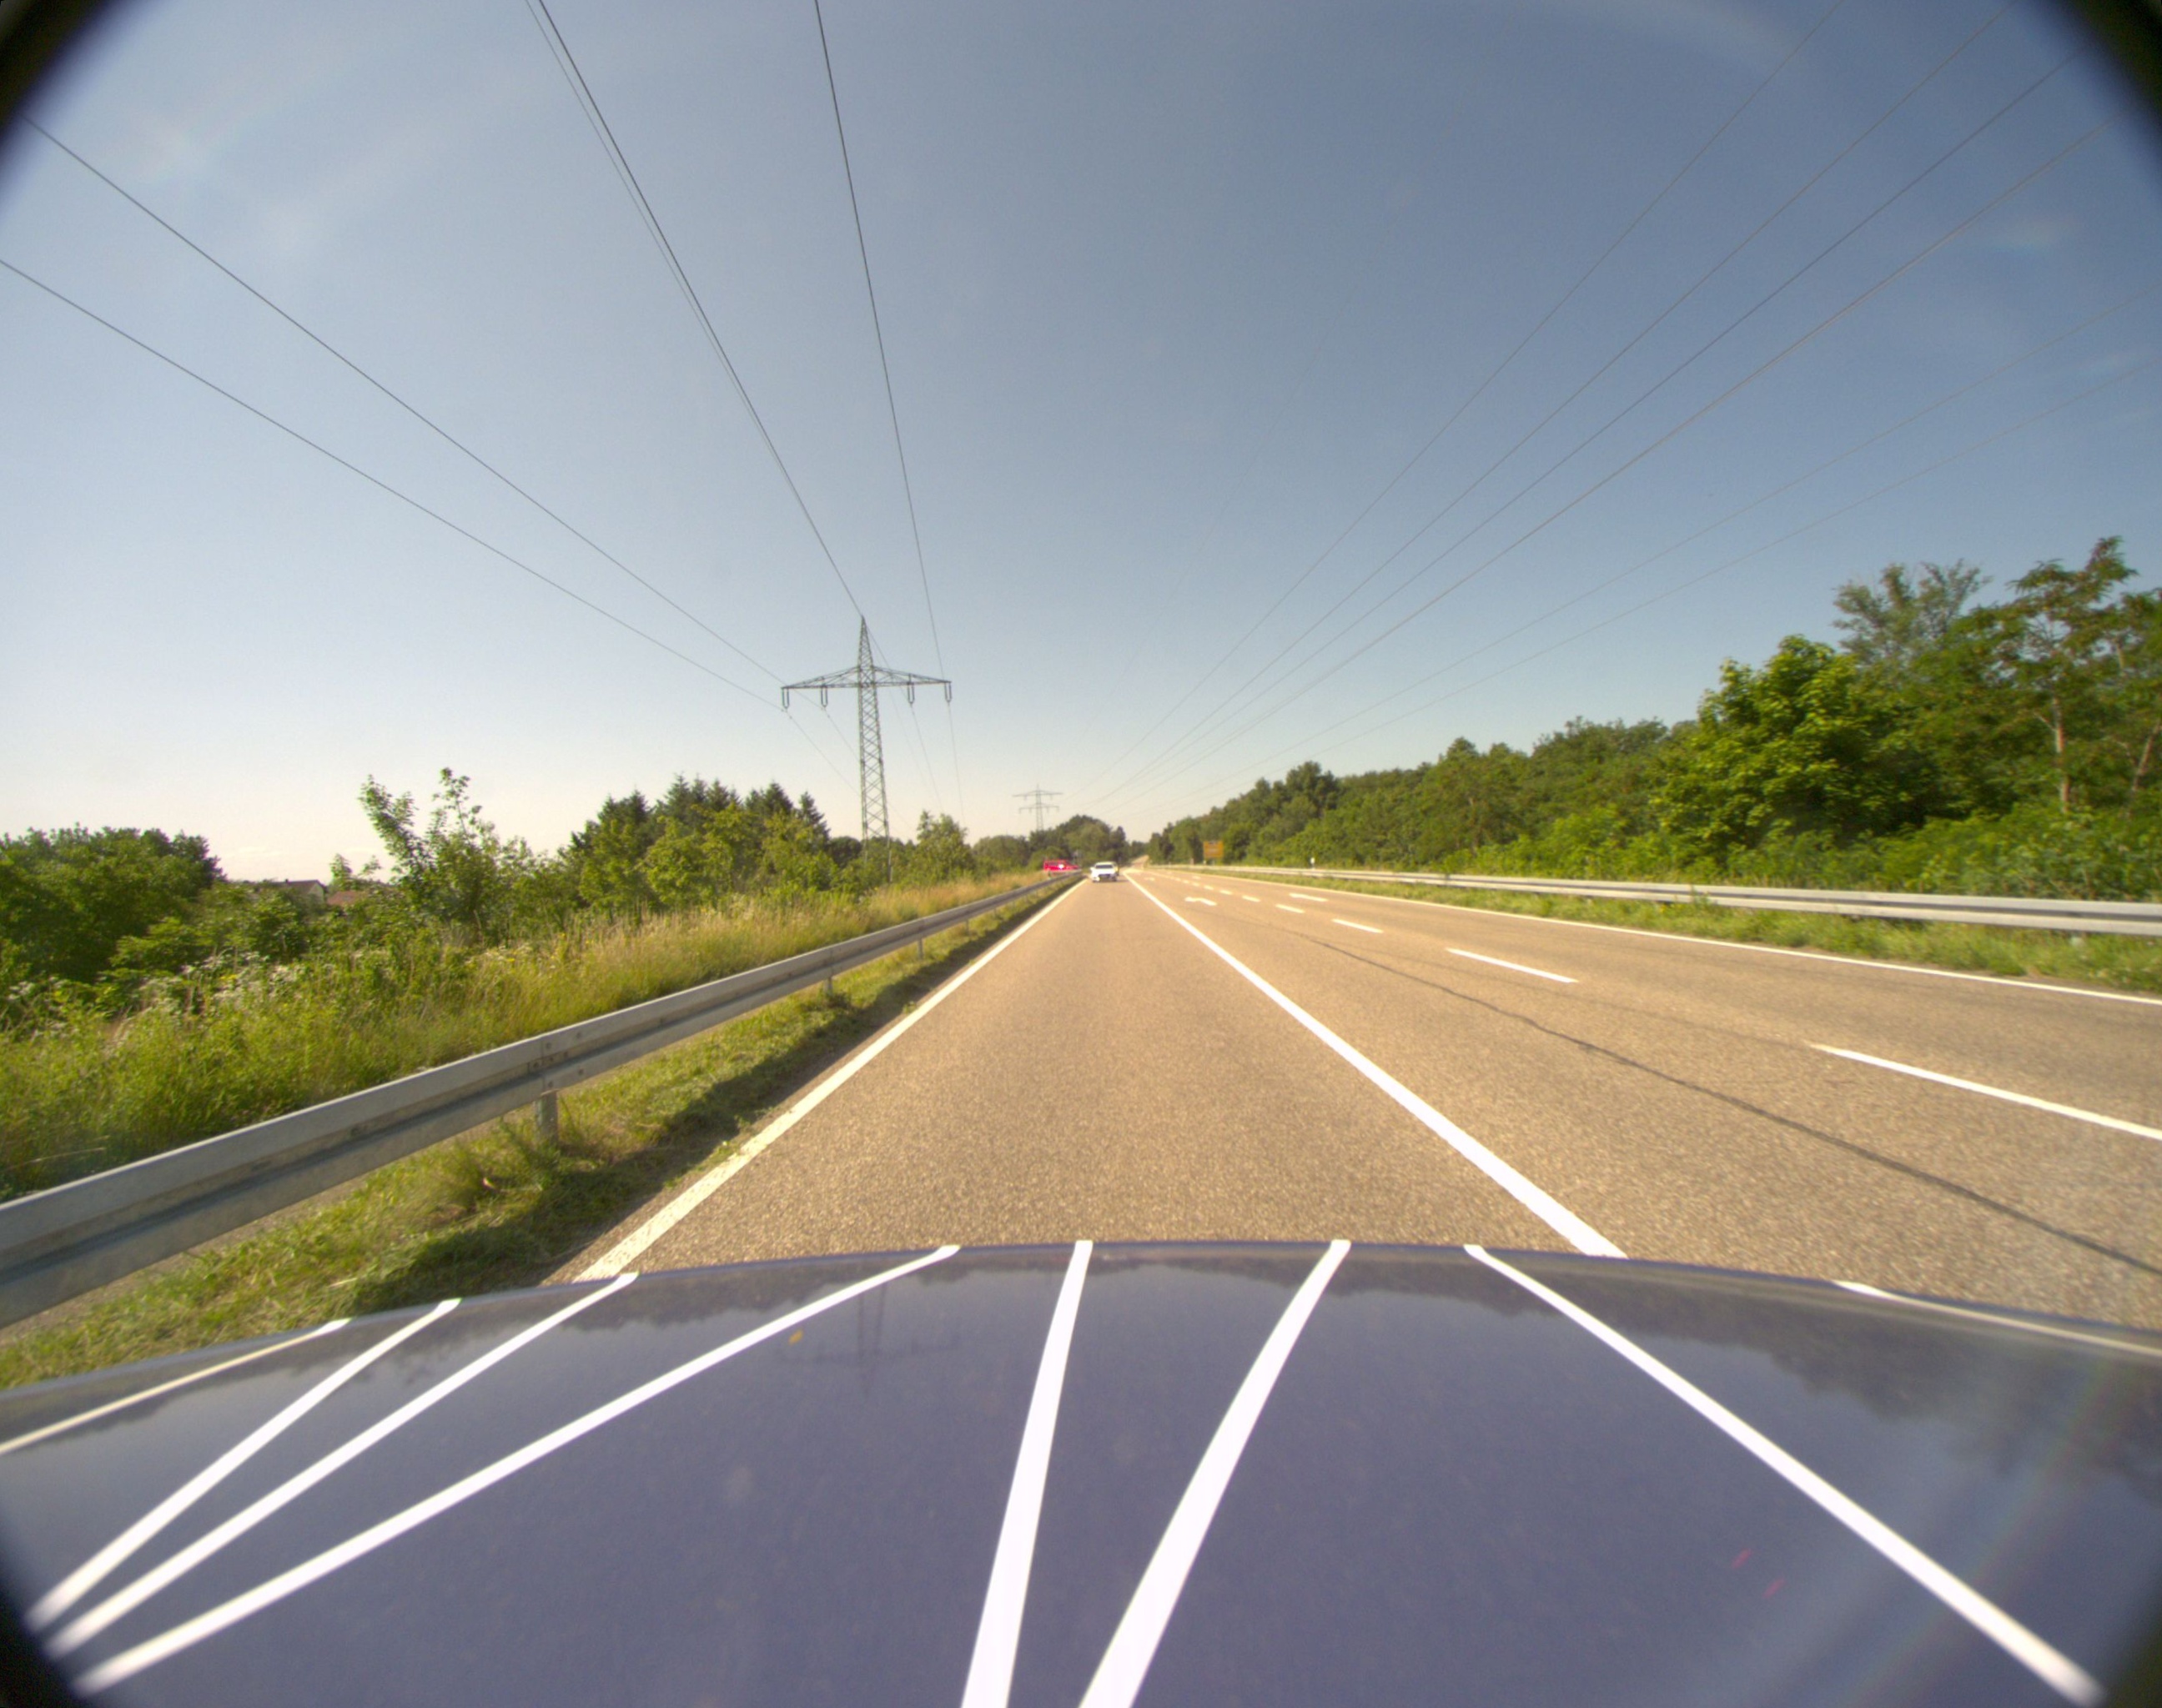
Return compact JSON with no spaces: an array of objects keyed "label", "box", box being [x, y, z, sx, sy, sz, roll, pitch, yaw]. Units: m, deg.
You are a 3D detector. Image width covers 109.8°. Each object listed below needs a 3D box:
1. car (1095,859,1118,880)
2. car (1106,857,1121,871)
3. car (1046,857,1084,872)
[{"label":"car","box":[1.935,1.150,58.438,1.683,1.471,4.474,-1,0,1]},{"label":"car","box":[3.598,1.145,84.016,1.549,1.460,3.661,-2,0,1]},{"label":"car","box":[-2.170,1.357,100.404,4.825,1.892,1.799,-2,0,33]}]
